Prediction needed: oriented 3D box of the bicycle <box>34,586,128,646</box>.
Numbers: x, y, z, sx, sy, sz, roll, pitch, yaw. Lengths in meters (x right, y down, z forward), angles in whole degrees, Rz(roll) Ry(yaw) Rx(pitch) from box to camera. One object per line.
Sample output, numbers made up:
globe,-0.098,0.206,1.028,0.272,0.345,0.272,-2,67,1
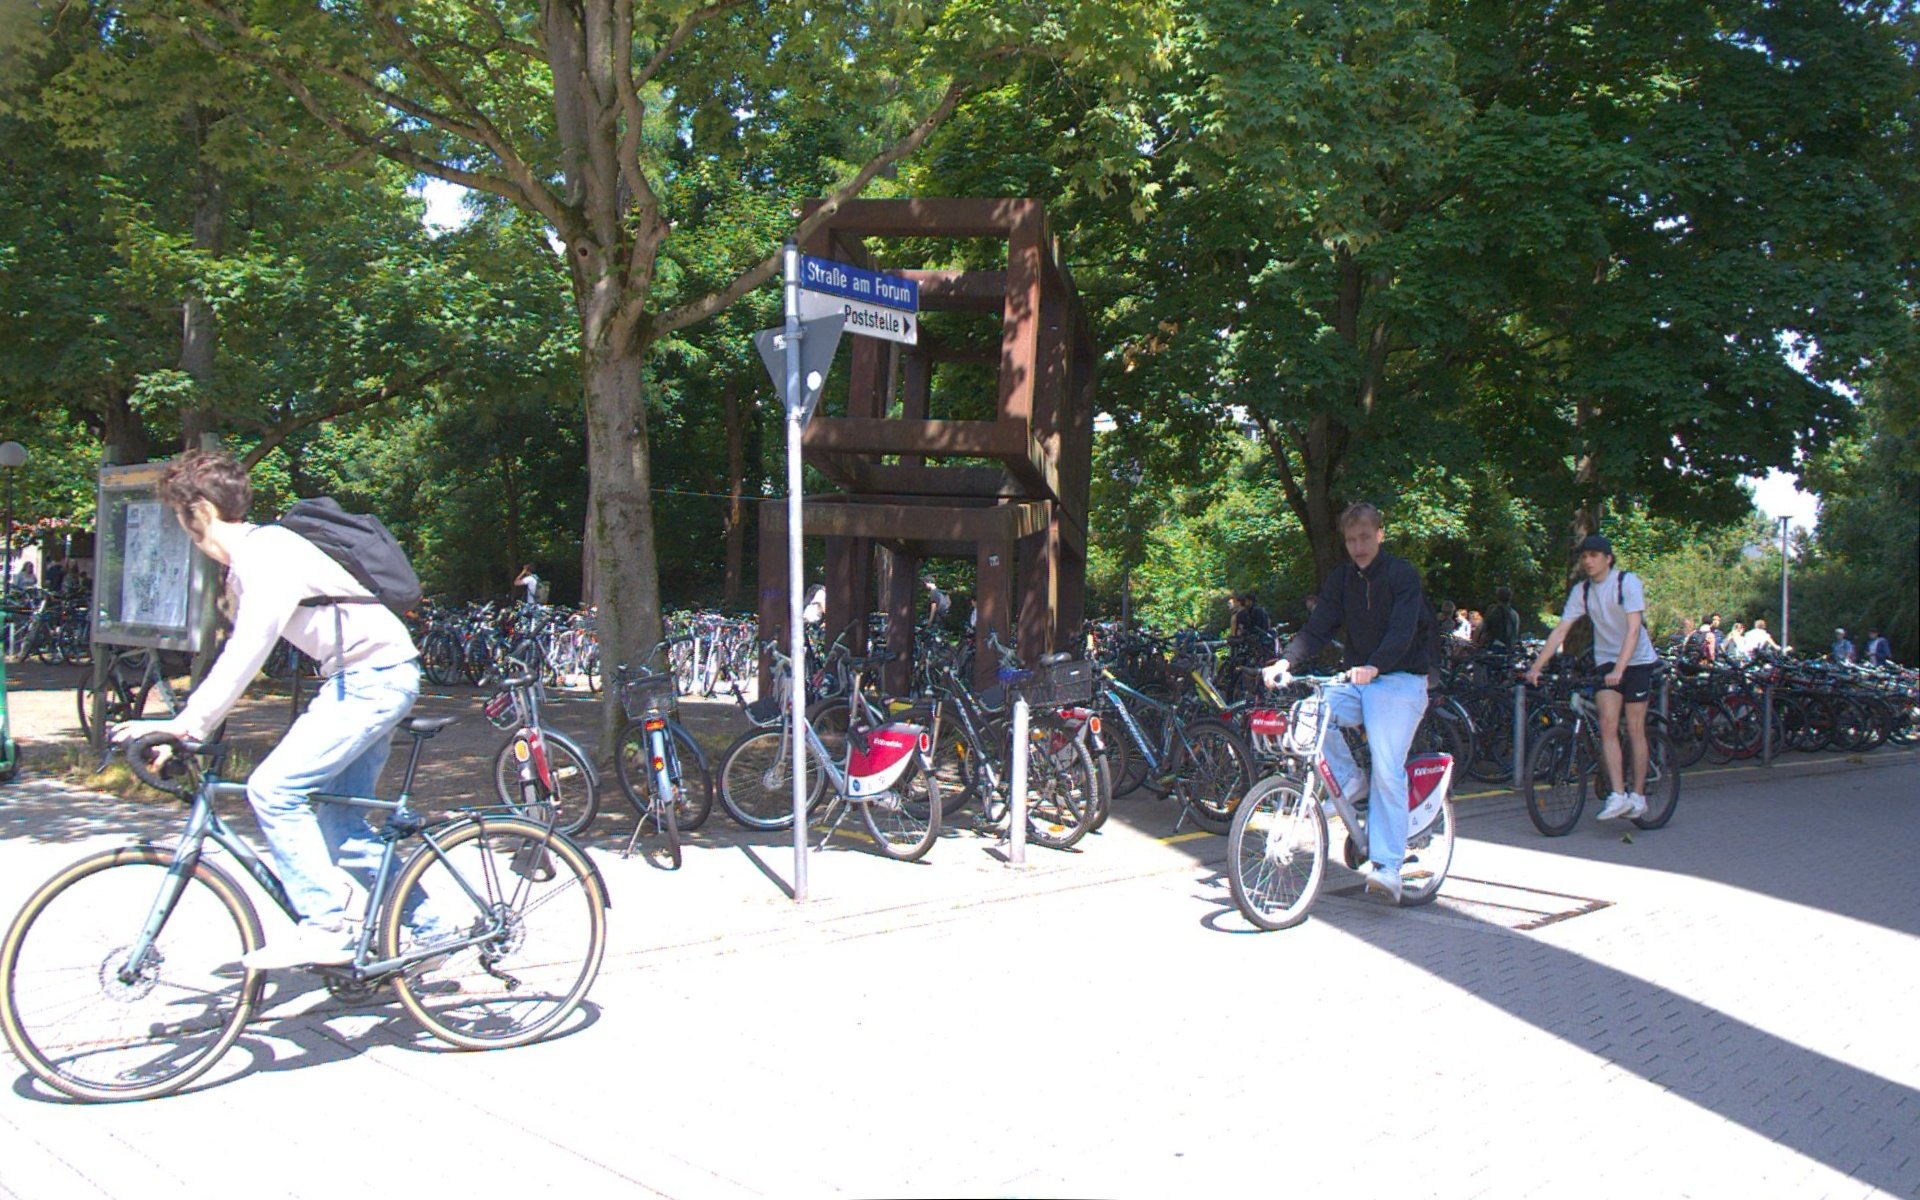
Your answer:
bicycle,-16.971,0.322,31.985,0.462,1.102,1.860,3,-1,12

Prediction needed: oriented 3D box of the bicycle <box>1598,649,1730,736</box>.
bicycle,10.181,1.327,23.943,1.664,1.127,0.501,3,-1,33

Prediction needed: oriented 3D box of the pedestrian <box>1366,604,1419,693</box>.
pedestrian,8.614,0.955,32.939,0.885,1.709,0.770,3,-1,10

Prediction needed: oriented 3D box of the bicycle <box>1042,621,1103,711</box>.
bicycle,1.506,0.866,22.381,0.491,1.127,1.697,3,-1,-6

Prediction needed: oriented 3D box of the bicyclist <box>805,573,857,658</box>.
bicyclist,-2.487,0.301,31.922,0.705,1.595,0.595,3,-1,28

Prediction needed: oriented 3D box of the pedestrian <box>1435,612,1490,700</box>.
pedestrian,10.098,1.122,33.267,0.885,1.709,0.770,3,-1,10

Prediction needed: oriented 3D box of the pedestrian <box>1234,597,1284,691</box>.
pedestrian,5.964,0.874,32.952,0.885,1.805,0.770,3,-1,10

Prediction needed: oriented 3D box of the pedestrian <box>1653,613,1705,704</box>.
pedestrian,14.230,1.156,32.718,0.674,1.754,0.727,3,0,42

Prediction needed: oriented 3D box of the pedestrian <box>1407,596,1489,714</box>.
pedestrian,7.469,0.828,25.349,0.887,1.732,0.768,3,-1,-9

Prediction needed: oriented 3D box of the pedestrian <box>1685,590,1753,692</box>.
pedestrian,14.338,0.772,31.249,0.921,1.867,0.684,2,-1,-12

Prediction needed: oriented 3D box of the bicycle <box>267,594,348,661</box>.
bicycle,-11.456,0.484,29.096,0.462,1.102,1.860,3,-1,6

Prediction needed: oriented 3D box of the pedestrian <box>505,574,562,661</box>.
pedestrian,-9.130,0.371,35.402,0.892,1.805,0.764,2,-1,44

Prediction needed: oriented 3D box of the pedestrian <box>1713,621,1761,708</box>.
pedestrian,16.103,1.327,34.304,0.669,1.754,0.732,2,-1,7

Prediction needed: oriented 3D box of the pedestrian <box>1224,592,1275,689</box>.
pedestrian,5.624,0.783,32.112,0.885,1.805,0.770,3,-1,10

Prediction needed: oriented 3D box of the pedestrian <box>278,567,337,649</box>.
pedestrian,-14.810,0.186,37.568,0.886,1.805,0.769,3,-1,26

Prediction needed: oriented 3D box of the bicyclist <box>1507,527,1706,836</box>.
bicyclist,4.260,0.515,10.904,0.858,1.924,0.795,4,0,-38

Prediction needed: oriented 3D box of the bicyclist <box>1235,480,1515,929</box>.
bicyclist,1.904,0.459,7.599,0.956,1.920,0.668,4,0,-32

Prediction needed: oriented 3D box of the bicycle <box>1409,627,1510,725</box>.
bicycle,6.763,1.008,22.470,0.563,1.220,1.695,3,-1,-10

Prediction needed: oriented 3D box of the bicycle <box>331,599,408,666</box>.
bicycle,-10.333,0.568,29.000,0.462,1.102,1.860,3,-1,6

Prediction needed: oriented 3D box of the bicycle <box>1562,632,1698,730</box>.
bicycle,9.403,1.122,23.246,1.664,1.241,0.501,3,-1,33

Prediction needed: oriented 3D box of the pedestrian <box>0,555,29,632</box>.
pedestrian,-22.828,-0.174,39.327,0.886,1.805,0.769,3,-1,26

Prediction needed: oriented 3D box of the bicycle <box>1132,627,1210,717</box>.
bicycle,2.843,0.952,22.431,0.617,1.127,1.697,3,-1,-6

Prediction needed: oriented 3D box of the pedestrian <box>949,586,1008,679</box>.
pedestrian,0.378,0.655,33.352,0.886,1.805,0.770,3,-1,22

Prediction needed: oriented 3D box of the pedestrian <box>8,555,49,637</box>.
pedestrian,-20.949,-0.087,37.195,0.658,1.802,0.500,2,-1,37

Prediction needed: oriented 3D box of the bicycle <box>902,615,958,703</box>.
bicycle,-0.394,0.789,22.594,0.490,1.127,1.781,3,-1,6

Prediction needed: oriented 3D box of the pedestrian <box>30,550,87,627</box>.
pedestrian,-22.241,-0.281,40.810,0.886,1.833,0.769,3,-1,26

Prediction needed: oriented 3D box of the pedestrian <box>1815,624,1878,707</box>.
pedestrian,20.567,1.511,38.379,0.963,1.835,0.768,3,-1,-10

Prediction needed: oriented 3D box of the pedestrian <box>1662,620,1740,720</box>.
pedestrian,13.481,1.270,30.084,1.043,1.754,0.716,2,-1,-14

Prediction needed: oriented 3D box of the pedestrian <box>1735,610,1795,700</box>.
pedestrian,16.334,1.109,33.558,0.920,1.754,0.673,1,-1,41

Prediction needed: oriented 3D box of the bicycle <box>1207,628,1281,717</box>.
bicycle,3.849,0.964,22.500,0.491,1.127,1.697,3,-1,-6

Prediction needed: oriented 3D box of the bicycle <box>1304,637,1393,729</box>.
bicycle,5.226,1.096,22.338,0.492,1.127,1.695,3,-1,-10

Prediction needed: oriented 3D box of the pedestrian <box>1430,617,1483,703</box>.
pedestrian,10.229,1.224,34.085,0.885,1.709,0.770,3,-1,10

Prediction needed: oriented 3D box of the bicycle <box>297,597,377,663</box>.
bicycle,-10.881,0.520,28.956,0.462,1.102,1.860,3,-1,6

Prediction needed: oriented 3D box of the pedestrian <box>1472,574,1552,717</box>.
pedestrian,7.355,0.605,22.057,0.752,1.838,0.710,3,-1,0

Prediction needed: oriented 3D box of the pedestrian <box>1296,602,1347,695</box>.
pedestrian,7.282,0.961,33.362,0.885,1.805,0.770,3,-1,10

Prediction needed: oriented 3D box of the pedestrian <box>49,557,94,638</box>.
pedestrian,-20.357,-0.062,37.904,0.646,1.805,0.607,2,-1,38

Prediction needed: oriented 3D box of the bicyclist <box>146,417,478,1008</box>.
bicyclist,-1.924,0.298,4.937,0.860,1.601,0.636,0,1,-23

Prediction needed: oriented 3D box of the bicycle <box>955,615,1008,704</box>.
bicycle,0.307,0.789,22.497,0.490,1.127,1.781,3,-1,6

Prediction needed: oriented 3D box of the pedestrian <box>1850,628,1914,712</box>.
pedestrian,20.927,1.579,37.544,0.864,1.847,0.832,3,-1,-12

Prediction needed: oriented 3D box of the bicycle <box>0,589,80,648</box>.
bicycle,-18.115,0.365,32.320,0.462,1.102,1.860,3,-1,12

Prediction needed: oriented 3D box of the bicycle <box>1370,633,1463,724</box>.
bicycle,6.158,1.037,22.392,0.492,1.127,1.695,3,-1,-10

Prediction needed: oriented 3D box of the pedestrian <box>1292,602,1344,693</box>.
pedestrian,7.028,0.927,32.499,0.885,1.709,0.770,3,-1,10

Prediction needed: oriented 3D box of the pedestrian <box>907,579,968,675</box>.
pedestrian,-0.438,0.527,32.271,0.885,1.805,0.770,3,-1,21

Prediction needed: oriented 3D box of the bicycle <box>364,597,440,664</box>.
bicycle,-9.707,0.534,28.827,0.462,1.102,1.860,3,-1,6

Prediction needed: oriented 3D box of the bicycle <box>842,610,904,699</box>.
bicycle,-1.157,0.715,22.354,0.490,1.127,1.908,3,-1,6

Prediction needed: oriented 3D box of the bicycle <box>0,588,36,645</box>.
bicycle,-19.222,0.312,32.503,0.463,1.102,1.857,3,-1,26
